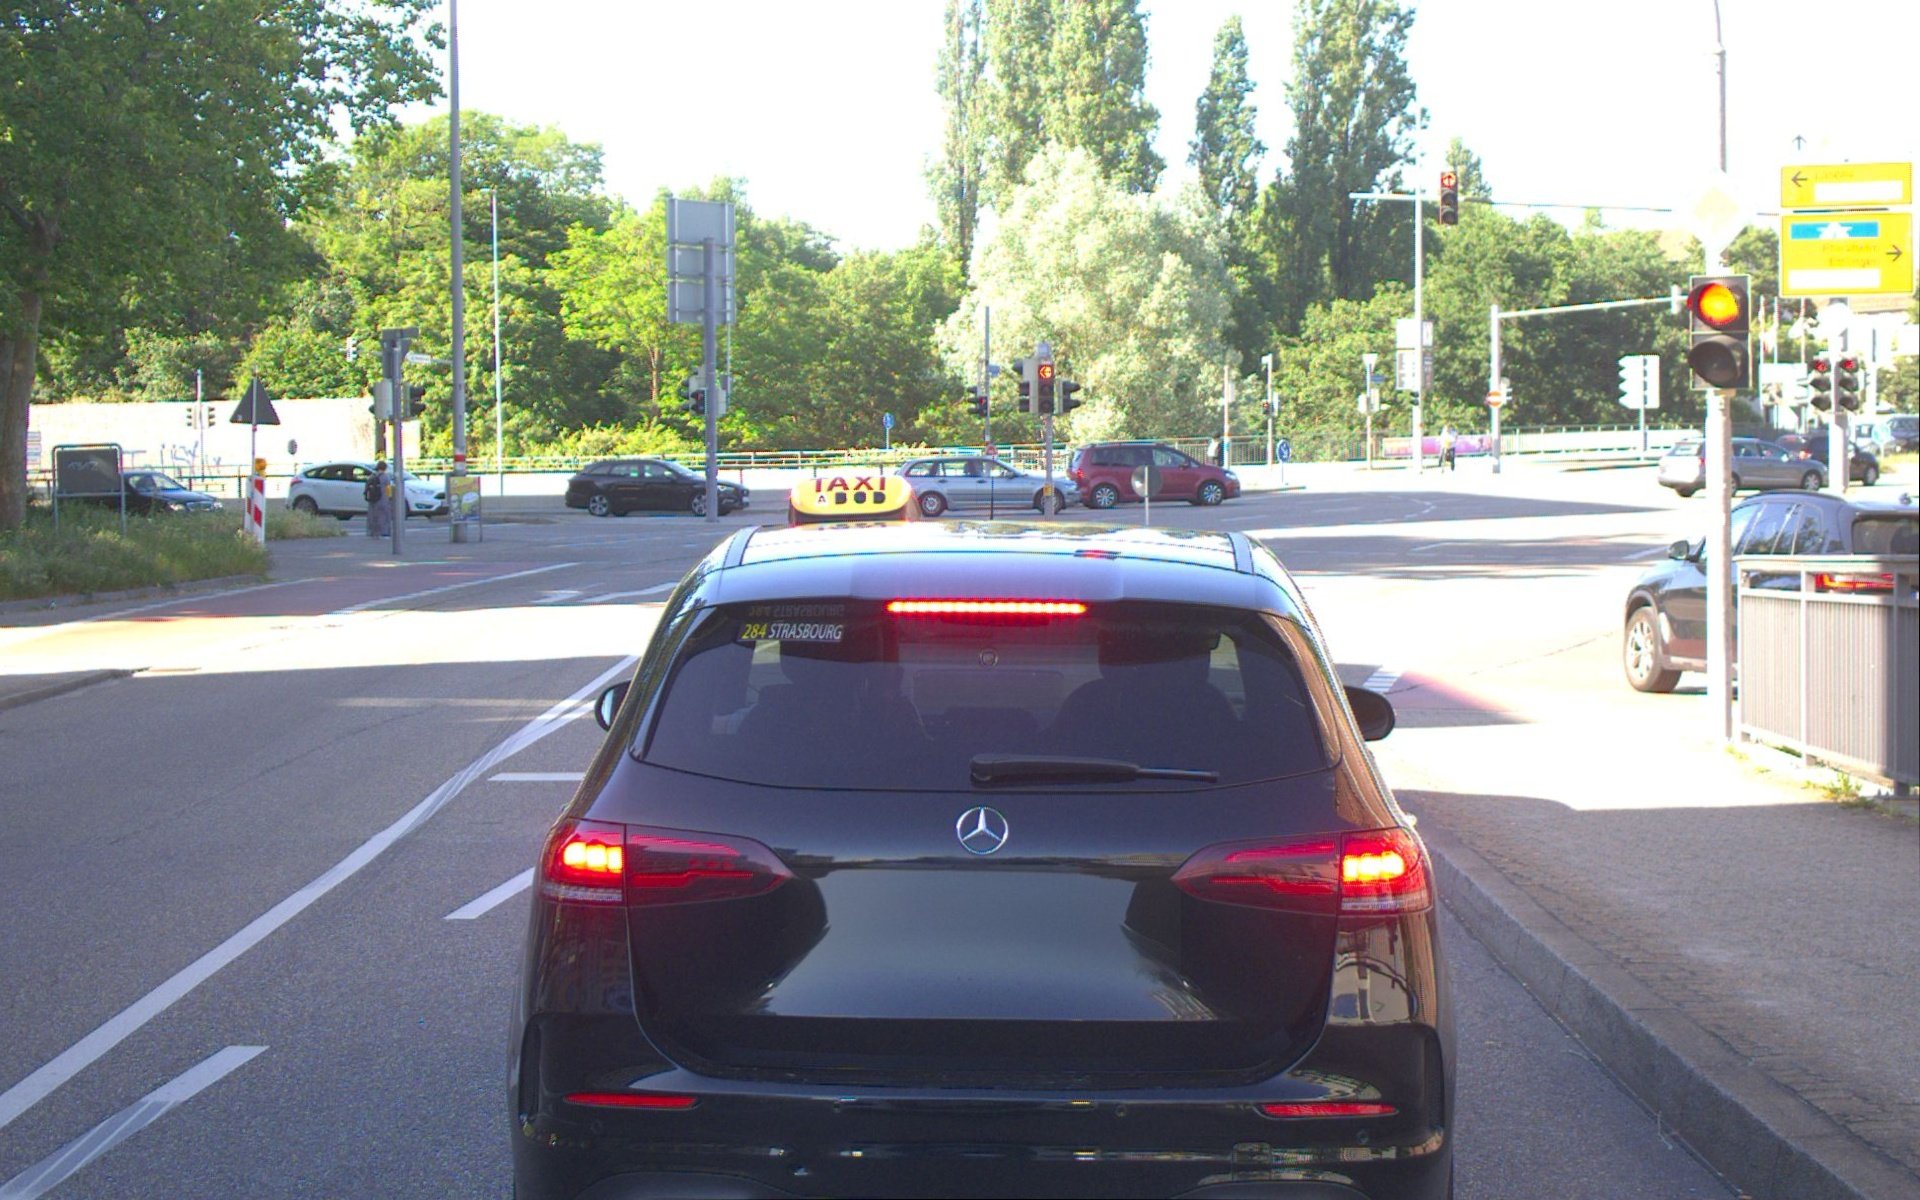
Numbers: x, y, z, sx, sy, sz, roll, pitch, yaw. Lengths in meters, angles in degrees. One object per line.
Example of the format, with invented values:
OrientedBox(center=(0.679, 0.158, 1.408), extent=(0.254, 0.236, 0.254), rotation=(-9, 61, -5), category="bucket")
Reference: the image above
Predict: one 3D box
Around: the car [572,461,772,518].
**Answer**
OrientedBox(center=(-7.181, -2.755, 85.825), extent=(4.582, 1.290, 1.885), rotation=(0, 4, 16), category="car")

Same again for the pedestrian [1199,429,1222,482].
OrientedBox(center=(7.561, -4.354, 103.813), extent=(0.451, 1.580, 0.500), rotation=(1, 3, 40), category="pedestrian")

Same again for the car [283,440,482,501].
OrientedBox(center=(-13.977, -3.144, 83.237), extent=(4.305, 1.360, 1.998), rotation=(0, 4, 23), category="car")

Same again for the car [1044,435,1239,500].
OrientedBox(center=(4.487, -3.292, 85.379), extent=(4.536, 1.450, 2.001), rotation=(-2, 3, -7), category="car")

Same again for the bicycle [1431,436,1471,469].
OrientedBox(center=(16.285, -4.888, 114.033), extent=(0.526, 1.046, 1.986), rotation=(0, 3, 33), category="bicycle")

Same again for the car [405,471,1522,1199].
OrientedBox(center=(-0.020, 0.543, 7.834), extent=(1.878, 1.608, 4.000), rotation=(1, 2, -1), category="car")

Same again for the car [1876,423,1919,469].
OrientedBox(center=(33.565, -5.376, 119.809), extent=(1.882, 1.573, 3.992), rotation=(1, 3, 36), category="car")

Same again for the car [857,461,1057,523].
OrientedBox(center=(-0.053, -2.527, 80.063), extent=(4.579, 1.290, 2.000), rotation=(-1, 3, 1), category="car")

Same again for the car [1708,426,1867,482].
OrientedBox(center=(22.275, -3.942, 92.484), extent=(4.065, 1.352, 1.787), rotation=(-4, 4, -31), category="car")

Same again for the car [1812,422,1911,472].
OrientedBox(center=(30.074, -5.111, 114.656), extent=(1.882, 1.573, 3.992), rotation=(1, 3, 36), category="car")

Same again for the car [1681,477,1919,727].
OrientedBox(center=(7.103, 0.006, 27.400), extent=(1.721, 1.806, 4.297), rotation=(2, 1, 0), category="car")

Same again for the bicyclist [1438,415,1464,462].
OrientedBox(center=(16.284, -5.347, 114.004), extent=(0.526, 1.545, 0.805), rotation=(0, 3, 33), category="bicyclist")

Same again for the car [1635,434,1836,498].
OrientedBox(center=(19.544, -3.392, 86.593), extent=(4.807, 1.436, 2.000), rotation=(-3, 4, -29), category="car")

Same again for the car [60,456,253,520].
OrientedBox(center=(-18.105, -2.518, 77.389), extent=(4.194, 1.402, 1.744), rotation=(1, 3, 32), category="car")

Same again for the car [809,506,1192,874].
OrientedBox(center=(0.227, 0.348, 16.719), extent=(1.640, 1.524, 3.474), rotation=(-1, 2, 2), category="car")

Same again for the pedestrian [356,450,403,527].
OrientedBox(center=(-11.473, -2.204, 67.982), extent=(0.705, 1.520, 0.743), rotation=(1, 2, 10), category="pedestrian")
